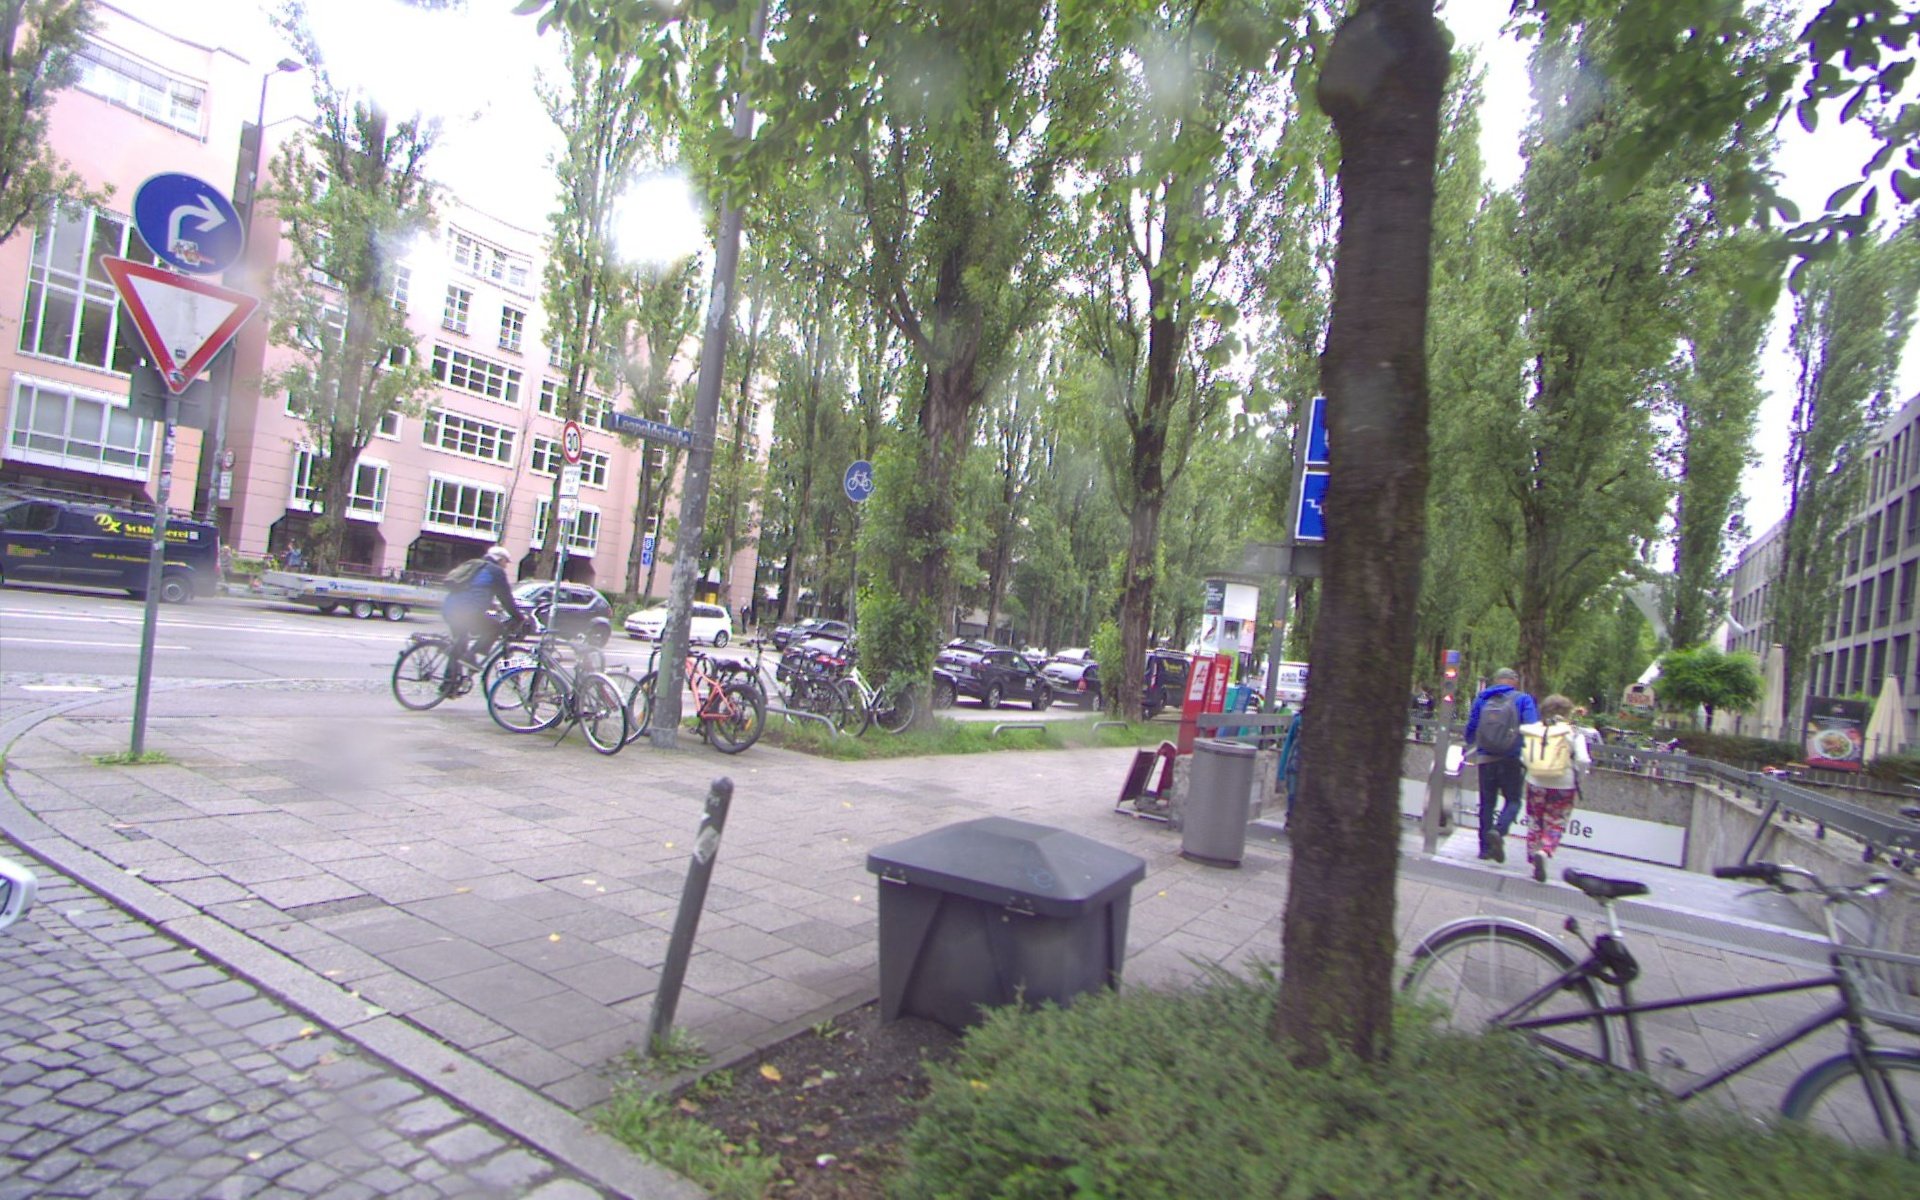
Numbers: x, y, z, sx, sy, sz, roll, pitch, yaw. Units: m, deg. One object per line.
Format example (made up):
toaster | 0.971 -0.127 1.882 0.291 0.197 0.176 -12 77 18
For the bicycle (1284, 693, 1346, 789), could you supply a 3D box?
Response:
bicycle | 4.973 1.923 14.031 0.577 1.173 1.870 7 -2 23

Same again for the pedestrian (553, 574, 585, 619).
pedestrian | -16.002 -0.150 41.179 0.698 1.734 0.730 7 -1 33

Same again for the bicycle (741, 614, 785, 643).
bicycle | -9.224 1.335 47.047 1.956 1.138 0.675 7 -1 33

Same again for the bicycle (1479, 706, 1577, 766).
bicycle | 14.094 3.360 24.987 1.999 1.173 0.586 6 -1 34

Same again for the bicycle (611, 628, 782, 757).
bicycle | -2.707 0.912 10.236 1.846 1.063 0.475 5 -2 33

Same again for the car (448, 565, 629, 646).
car | -10.546 0.192 25.401 1.819 1.544 3.747 5 -3 32

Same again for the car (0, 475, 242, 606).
car | -19.172 -1.315 21.701 1.990 2.222 5.489 7 -2 32

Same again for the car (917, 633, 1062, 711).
car | 0.827 1.844 25.239 1.720 1.544 3.902 8 -1 33

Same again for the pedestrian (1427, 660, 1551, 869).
pedestrian | 4.776 1.454 9.068 0.655 1.716 0.802 7 -1 41

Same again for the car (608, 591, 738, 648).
car | -10.306 0.754 36.492 1.965 1.559 4.322 7 -2 28

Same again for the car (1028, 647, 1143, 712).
car | 3.854 2.440 30.246 1.719 1.544 4.229 8 -1 31

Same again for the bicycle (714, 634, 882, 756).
bicycle | -1.865 1.054 11.433 1.899 1.118 0.512 6 -1 32

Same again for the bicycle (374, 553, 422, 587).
bicycle | -22.715 -1.216 40.656 2.072 1.138 0.675 7 -1 33

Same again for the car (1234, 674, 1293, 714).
car | 14.754 4.566 48.762 1.719 1.609 3.947 8 -1 30

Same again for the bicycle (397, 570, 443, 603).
bicycle | -22.373 -0.548 41.666 1.956 1.138 0.675 7 -1 33

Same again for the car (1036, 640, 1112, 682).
car | 5.972 3.193 52.063 1.966 1.768 5.059 5 -3 30

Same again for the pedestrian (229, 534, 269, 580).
pedestrian | -23.672 -1.436 33.497 0.698 1.385 0.730 7 -1 33

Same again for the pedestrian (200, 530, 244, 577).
pedestrian | -24.009 -1.503 32.735 0.718 1.385 0.710 7 -1 3

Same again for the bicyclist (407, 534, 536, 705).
bicyclist | -5.032 0.215 10.378 0.712 1.638 0.755 7 -1 32

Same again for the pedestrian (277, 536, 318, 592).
pedestrian | -21.866 -1.191 33.209 0.698 1.734 0.730 7 -1 33

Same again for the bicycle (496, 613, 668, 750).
bicycle | -3.732 0.772 9.868 1.846 1.063 0.475 7 -1 33

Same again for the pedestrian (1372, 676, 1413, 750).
pedestrian | 11.585 3.018 26.943 0.689 1.862 0.705 7 -1 34

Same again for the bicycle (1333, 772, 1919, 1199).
bicycle | 2.197 1.270 3.029 1.850 1.150 0.474 6 -1 40

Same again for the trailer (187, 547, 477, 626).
trailer | -16.355 -0.284 26.624 2.365 1.213 6.029 7 -2 32

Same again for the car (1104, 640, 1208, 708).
car | 6.984 2.661 35.445 1.884 1.946 5.035 8 -1 30

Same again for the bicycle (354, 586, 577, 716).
bicycle | -5.084 0.566 10.484 0.708 1.160 1.898 3 -5 33

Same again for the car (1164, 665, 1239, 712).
car | 9.740 3.595 40.368 1.719 1.544 3.947 8 -1 30

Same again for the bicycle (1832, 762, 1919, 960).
bicycle | 7.435 1.985 7.731 0.710 1.291 1.866 7 -2 32

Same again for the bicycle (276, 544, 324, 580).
bicycle | -24.886 -1.419 37.912 1.956 1.138 0.675 7 -1 33

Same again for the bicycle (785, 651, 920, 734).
bicycle | -1.404 1.177 12.940 1.806 0.827 0.470 5 -2 37

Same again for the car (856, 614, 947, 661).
car | -2.821 1.869 49.368 1.967 1.818 4.755 7 -2 31

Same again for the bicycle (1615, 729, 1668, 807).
bicycle | 11.833 2.886 17.506 0.578 1.173 1.866 7 -2 32

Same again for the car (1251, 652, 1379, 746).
car | 9.126 2.539 25.582 1.785 1.918 5.195 7 -2 32

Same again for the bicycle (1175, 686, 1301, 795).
bicycle | 3.423 1.718 12.279 0.580 1.173 1.860 6 -2 43

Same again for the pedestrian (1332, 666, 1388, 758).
pedestrian | 8.559 2.393 21.518 0.739 1.824 0.841 7 -1 36

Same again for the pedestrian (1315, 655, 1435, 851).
pedestrian | 3.957 1.442 9.596 0.686 1.721 0.656 8 -1 -43

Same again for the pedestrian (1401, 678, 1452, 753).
pedestrian | 12.755 3.150 27.489 0.905 1.888 1.011 7 -1 36

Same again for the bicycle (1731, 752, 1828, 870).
bicycle | 9.870 2.502 12.176 0.578 1.173 1.866 7 -2 32

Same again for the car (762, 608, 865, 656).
car | -6.254 1.416 43.449 1.967 1.559 4.318 7 -2 32

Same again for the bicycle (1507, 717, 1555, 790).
bicycle | 10.379 2.753 18.250 0.578 1.173 1.866 7 -2 32

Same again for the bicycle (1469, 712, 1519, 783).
bicycle | 9.876 2.696 18.574 0.578 1.173 1.866 7 -2 32

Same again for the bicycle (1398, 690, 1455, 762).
bicycle | 8.535 2.293 18.362 0.578 1.173 1.981 7 -2 32

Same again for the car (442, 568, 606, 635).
car | -13.266 0.091 30.860 1.777 1.560 4.225 5 -2 33

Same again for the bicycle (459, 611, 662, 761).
bicycle | -3.580 0.737 8.971 1.843 1.063 0.475 6 -1 26

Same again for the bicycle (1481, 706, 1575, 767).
bicycle | 13.790 3.295 24.437 1.839 1.173 0.586 6 -1 34

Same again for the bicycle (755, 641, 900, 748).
bicycle | -1.634 1.125 12.246 1.806 1.050 0.512 5 -2 37

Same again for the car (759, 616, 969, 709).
car | -1.858 1.365 20.897 1.728 1.444 4.438 8 -1 35

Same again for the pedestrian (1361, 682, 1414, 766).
pedestrian | 8.996 2.605 21.169 0.687 1.625 0.831 7 -1 36

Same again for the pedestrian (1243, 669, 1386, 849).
pedestrian | 3.178 1.399 9.022 0.766 1.436 0.808 7 -1 -43

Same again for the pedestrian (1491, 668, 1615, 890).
pedestrian | 5.026 1.483 8.513 0.602 1.700 0.842 7 -1 41

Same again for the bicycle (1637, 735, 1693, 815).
bicycle | 12.033 2.953 17.213 0.578 1.173 1.866 7 -2 32

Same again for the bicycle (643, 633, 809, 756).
bicycle | -2.515 0.978 10.696 1.846 1.063 0.475 5 -2 33

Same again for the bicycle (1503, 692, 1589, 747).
bicycle | 15.693 3.187 26.961 1.839 1.173 0.586 7 -1 34
